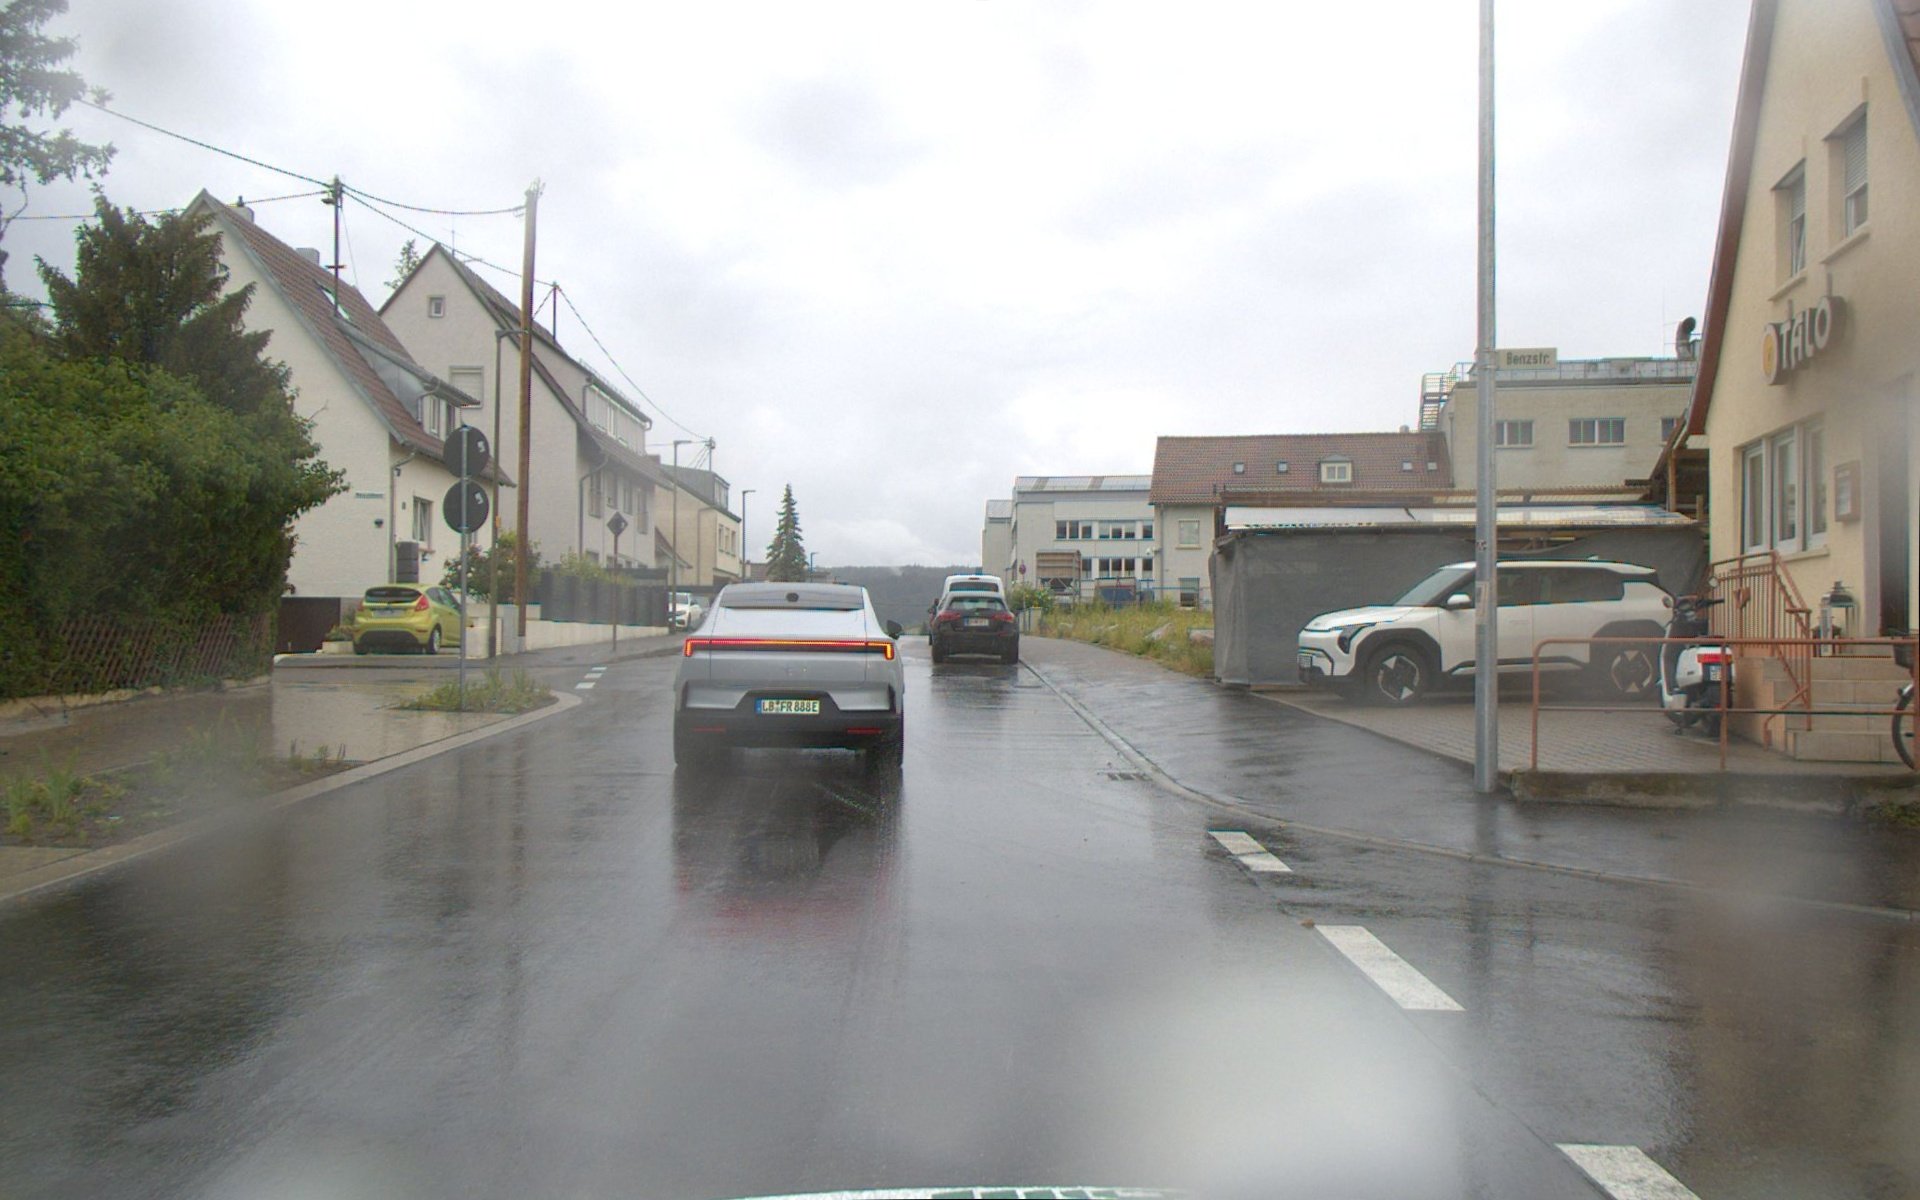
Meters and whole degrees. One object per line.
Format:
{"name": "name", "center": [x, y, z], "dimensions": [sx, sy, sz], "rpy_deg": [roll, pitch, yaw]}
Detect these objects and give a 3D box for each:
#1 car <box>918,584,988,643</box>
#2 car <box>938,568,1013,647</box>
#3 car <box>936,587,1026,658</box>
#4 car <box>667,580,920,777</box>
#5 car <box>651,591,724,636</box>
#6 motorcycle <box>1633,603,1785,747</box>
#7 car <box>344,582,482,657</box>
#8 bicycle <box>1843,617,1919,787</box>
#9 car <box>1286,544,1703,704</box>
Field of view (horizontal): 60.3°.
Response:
{"name": "car", "center": [-0.261, 0.397, 48.148], "dimensions": [1.610, 1.602, 4.638], "rpy_deg": [1, -1, -5]}
{"name": "car", "center": [0.340, 0.199, 41.753], "dimensions": [1.733, 1.857, 4.573], "rpy_deg": [1, -1, -1]}
{"name": "car", "center": [0.381, 0.469, 34.996], "dimensions": [1.733, 1.359, 4.319], "rpy_deg": [1, -1, -1]}
{"name": "car", "center": [-1.490, 0.641, 15.302], "dimensions": [1.954, 1.528, 4.665], "rpy_deg": [1, -1, -5]}
{"name": "car", "center": [-10.429, 0.531, 63.599], "dimensions": [1.953, 1.536, 4.894], "rpy_deg": [4, -1, -1]}
{"name": "motorcycle", "center": [6.351, 0.596, 14.125], "dimensions": [0.477, 1.115, 2.001], "rpy_deg": [1, 0, 3]}
{"name": "car", "center": [-11.473, 0.434, 34.896], "dimensions": [1.742, 1.493, 3.456], "rpy_deg": [1, -1, 0]}
{"name": "bicycle", "center": [6.971, 0.694, 11.125], "dimensions": [1.732, 1.115, 0.489], "rpy_deg": [1, 0, 13]}
{"name": "car", "center": [6.021, 0.272, 18.972], "dimensions": [4.132, 1.638, 1.860], "rpy_deg": [-1, -1, -3]}
